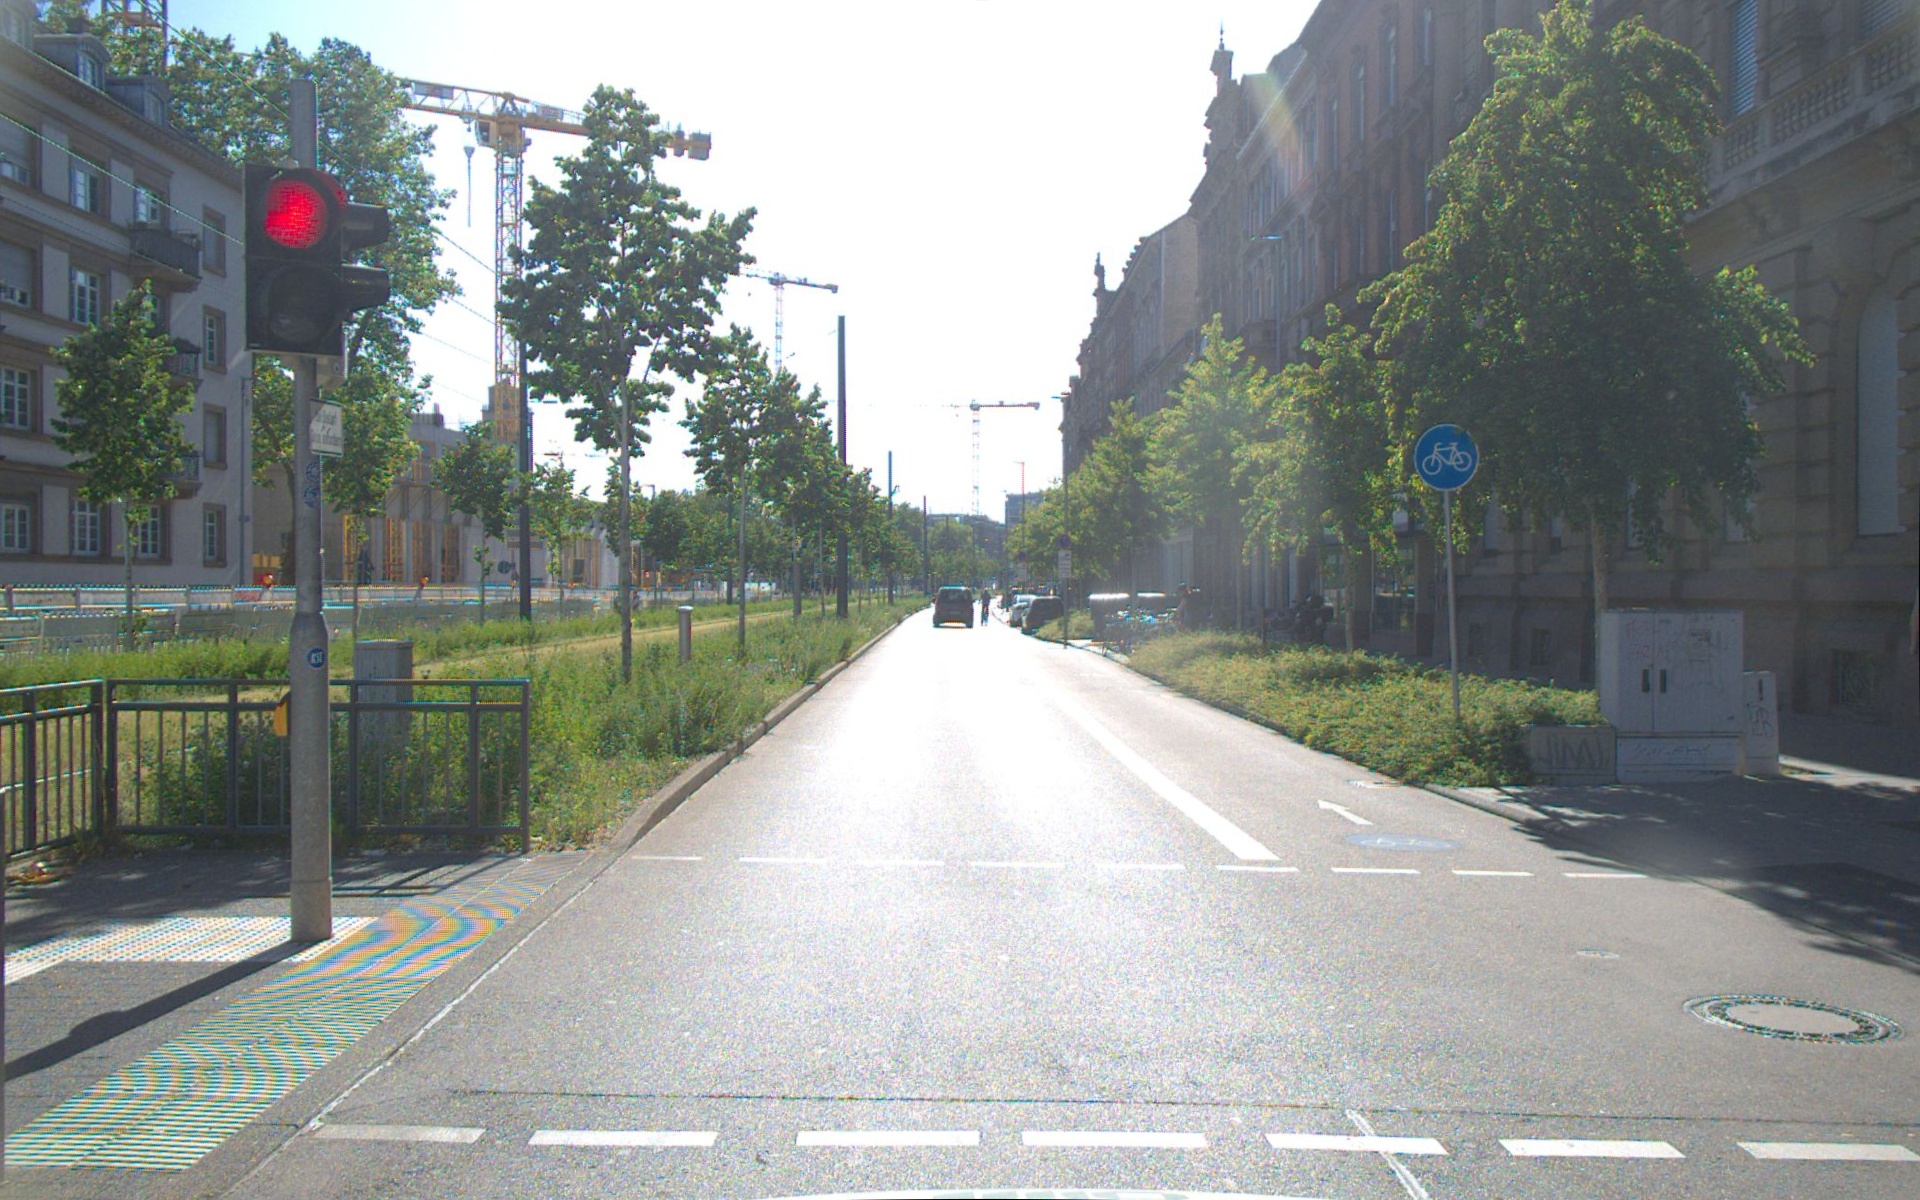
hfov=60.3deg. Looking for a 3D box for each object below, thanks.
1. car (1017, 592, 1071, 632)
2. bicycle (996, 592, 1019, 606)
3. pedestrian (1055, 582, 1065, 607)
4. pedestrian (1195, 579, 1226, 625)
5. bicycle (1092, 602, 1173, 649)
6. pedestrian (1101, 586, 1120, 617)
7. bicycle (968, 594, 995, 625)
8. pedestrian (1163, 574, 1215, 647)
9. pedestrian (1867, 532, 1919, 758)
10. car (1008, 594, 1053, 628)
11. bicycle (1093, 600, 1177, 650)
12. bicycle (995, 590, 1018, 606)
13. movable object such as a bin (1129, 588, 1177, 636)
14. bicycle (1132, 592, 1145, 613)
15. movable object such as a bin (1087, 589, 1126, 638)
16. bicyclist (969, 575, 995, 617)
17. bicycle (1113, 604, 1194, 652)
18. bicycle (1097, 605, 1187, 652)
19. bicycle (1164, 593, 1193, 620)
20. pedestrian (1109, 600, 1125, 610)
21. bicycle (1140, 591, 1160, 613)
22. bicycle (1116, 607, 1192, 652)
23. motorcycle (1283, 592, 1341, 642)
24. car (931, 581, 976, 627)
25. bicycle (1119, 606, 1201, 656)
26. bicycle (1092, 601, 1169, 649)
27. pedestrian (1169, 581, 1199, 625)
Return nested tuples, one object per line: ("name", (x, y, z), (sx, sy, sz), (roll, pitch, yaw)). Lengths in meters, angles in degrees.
("car", (3.394, 0.478, 67.605), (1.730, 1.502, 4.446), (-2, 0, -3))
("bicycle", (4.013, -0.082, 139.223), (1.790, 1.097, 0.664), (-3, 0, -7))
("pedestrian", (8.470, -0.462, 140.104), (0.801, 2.049, 1.046), (1, -2, -1))
("pedestrian", (9.378, 0.071, 61.955), (0.951, 1.667, 0.992), (-1, 1, -1))
("bicycle", (4.597, 0.668, 44.090), (2.004, 1.126, 0.610), (-3, 0, -7))
("pedestrian", (8.547, 0.102, 94.065), (0.976, 1.762, 0.866), (1, -1, -1))
("bicycle", (1.066, 0.451, 82.405), (1.185, 1.490, 3.999), (1, 0, -1))
("pedestrian", (5.742, 0.268, 41.470), (0.837, 1.766, 0.894), (-4, 0, -28))
("pedestrian", (8.756, 0.378, 14.612), (0.871, 1.953, 1.098), (-2, 0, 4))
("car", (3.394, 0.494, 80.312), (1.912, 1.521, 5.104), (-2, 0, 0))
("bicycle", (4.559, 0.647, 43.005), (2.111, 1.174, 0.428), (-3, 1, -15))
("bicycle", (3.894, -0.155, 137.688), (1.843, 1.255, 0.499), (-3, 0, -6))
("movable object such as a bin", (6.406, 0.406, 54.946), (1.345, 1.521, 1.749), (-3, 0, 0))
("bicycle", (9.542, 0.135, 88.522), (0.471, 1.109, 2.057), (-1, 0, 0))
("movable object such as a bin", (4.844, 0.435, 54.749), (1.244, 1.488, 1.645), (1, 2, 4))
("bicyclist", (1.096, -0.170, 82.397), (1.185, 2.051, 1.641), (1, 0, -1))
("bicycle", (4.860, 0.696, 41.500), (1.938, 1.127, 0.435), (-2, 0, -4))
("bicycle", (4.700, 0.727, 42.663), (2.247, 1.121, 0.484), (-2, 0, -15))
("bicycle", (9.643, 0.265, 73.030), (0.858, 1.124, 2.180), (-3, 0, -3))
("pedestrian", (9.595, 0.311, 100.990), (0.757, 0.562, 2.007), (-1, 1, -1))
("bicycle", (9.653, 0.104, 84.165), (0.706, 1.109, 2.198), (-1, 0, 0))
("bicycle", (4.821, 0.728, 41.156), (1.780, 1.074, 0.571), (-2, 0, -7))
("motorcycle", (9.448, 0.458, 44.509), (0.848, 1.288, 2.981), (1, 0, -1))
("car", (-0.325, 0.186, 76.171), (1.953, 2.049, 3.999), (1, 0, -1))
("bicycle", (4.795, 0.737, 39.682), (1.855, 1.128, 0.517), (-2, 0, -6))
("bicycle", (4.586, 0.672, 44.497), (1.937, 1.143, 0.481), (-4, 1, -6))
("pedestrian", (8.376, 0.105, 61.909), (0.931, 1.594, 1.080), (-1, 1, -1))
